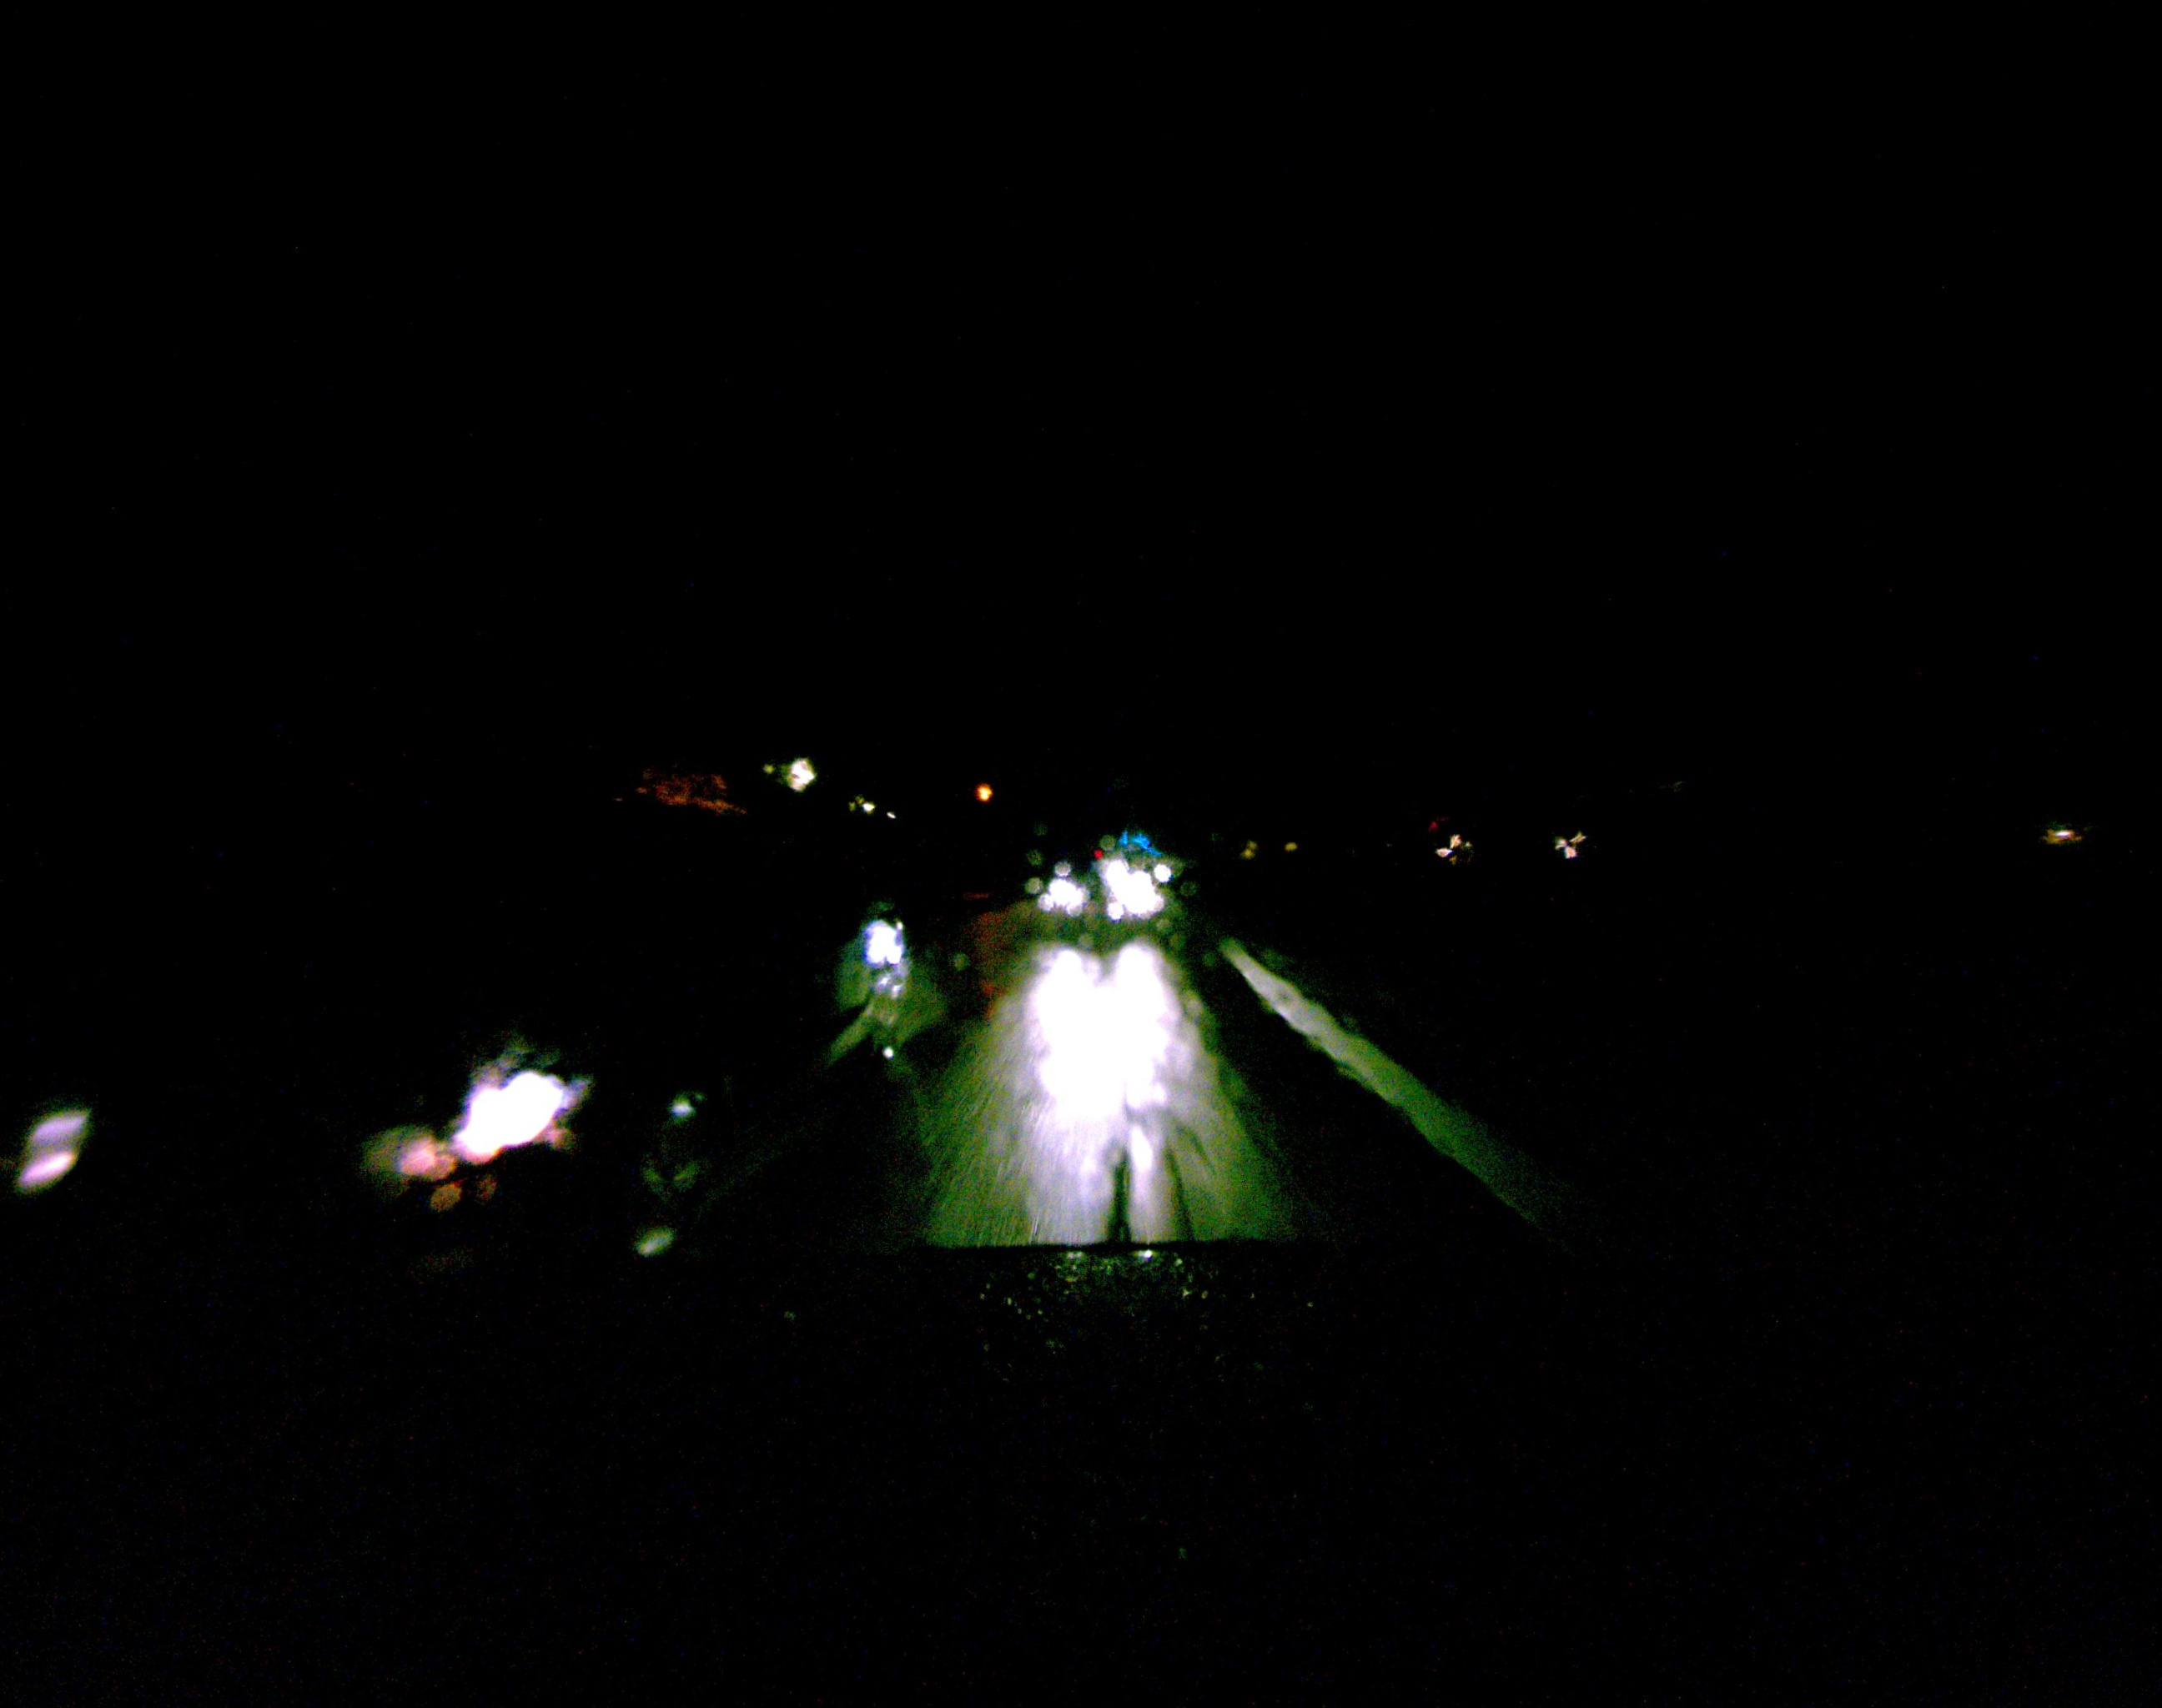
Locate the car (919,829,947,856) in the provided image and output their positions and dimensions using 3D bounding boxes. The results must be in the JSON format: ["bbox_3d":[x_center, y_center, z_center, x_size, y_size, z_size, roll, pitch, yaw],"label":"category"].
[{"bbox_3d":[-11.528,-0.876,59.159,2.000,2.002,3.996,-2,1,-11],"label":"car"}]

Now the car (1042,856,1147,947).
[{"bbox_3d":[0.440,0.898,16.272,1.825,1.573,4.356,-2,0,6],"label":"car"}]

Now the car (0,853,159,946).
[{"bbox_3d":[-19.126,0.813,13.950,3.938,1.478,1.767,-2,1,24],"label":"car"}]

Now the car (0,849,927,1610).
[{"bbox_3d":[-2.481,0.882,4.250,1.839,1.725,4.942,-2,0,4],"label":"car"}]

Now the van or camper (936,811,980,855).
[{"bbox_3d":[-8.551,-1.345,52.425,2.416,2.777,5.766,-3,1,-13],"label":"van or camper"}]

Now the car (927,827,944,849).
[{"bbox_3d":[-19.349,-2.065,101.063,1.936,2.758,4.251,-3,1,-11],"label":"car"}]

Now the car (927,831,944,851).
[{"bbox_3d":[-18.363,-1.650,95.706,1.936,2.406,4.251,-3,1,-11],"label":"car"}]
